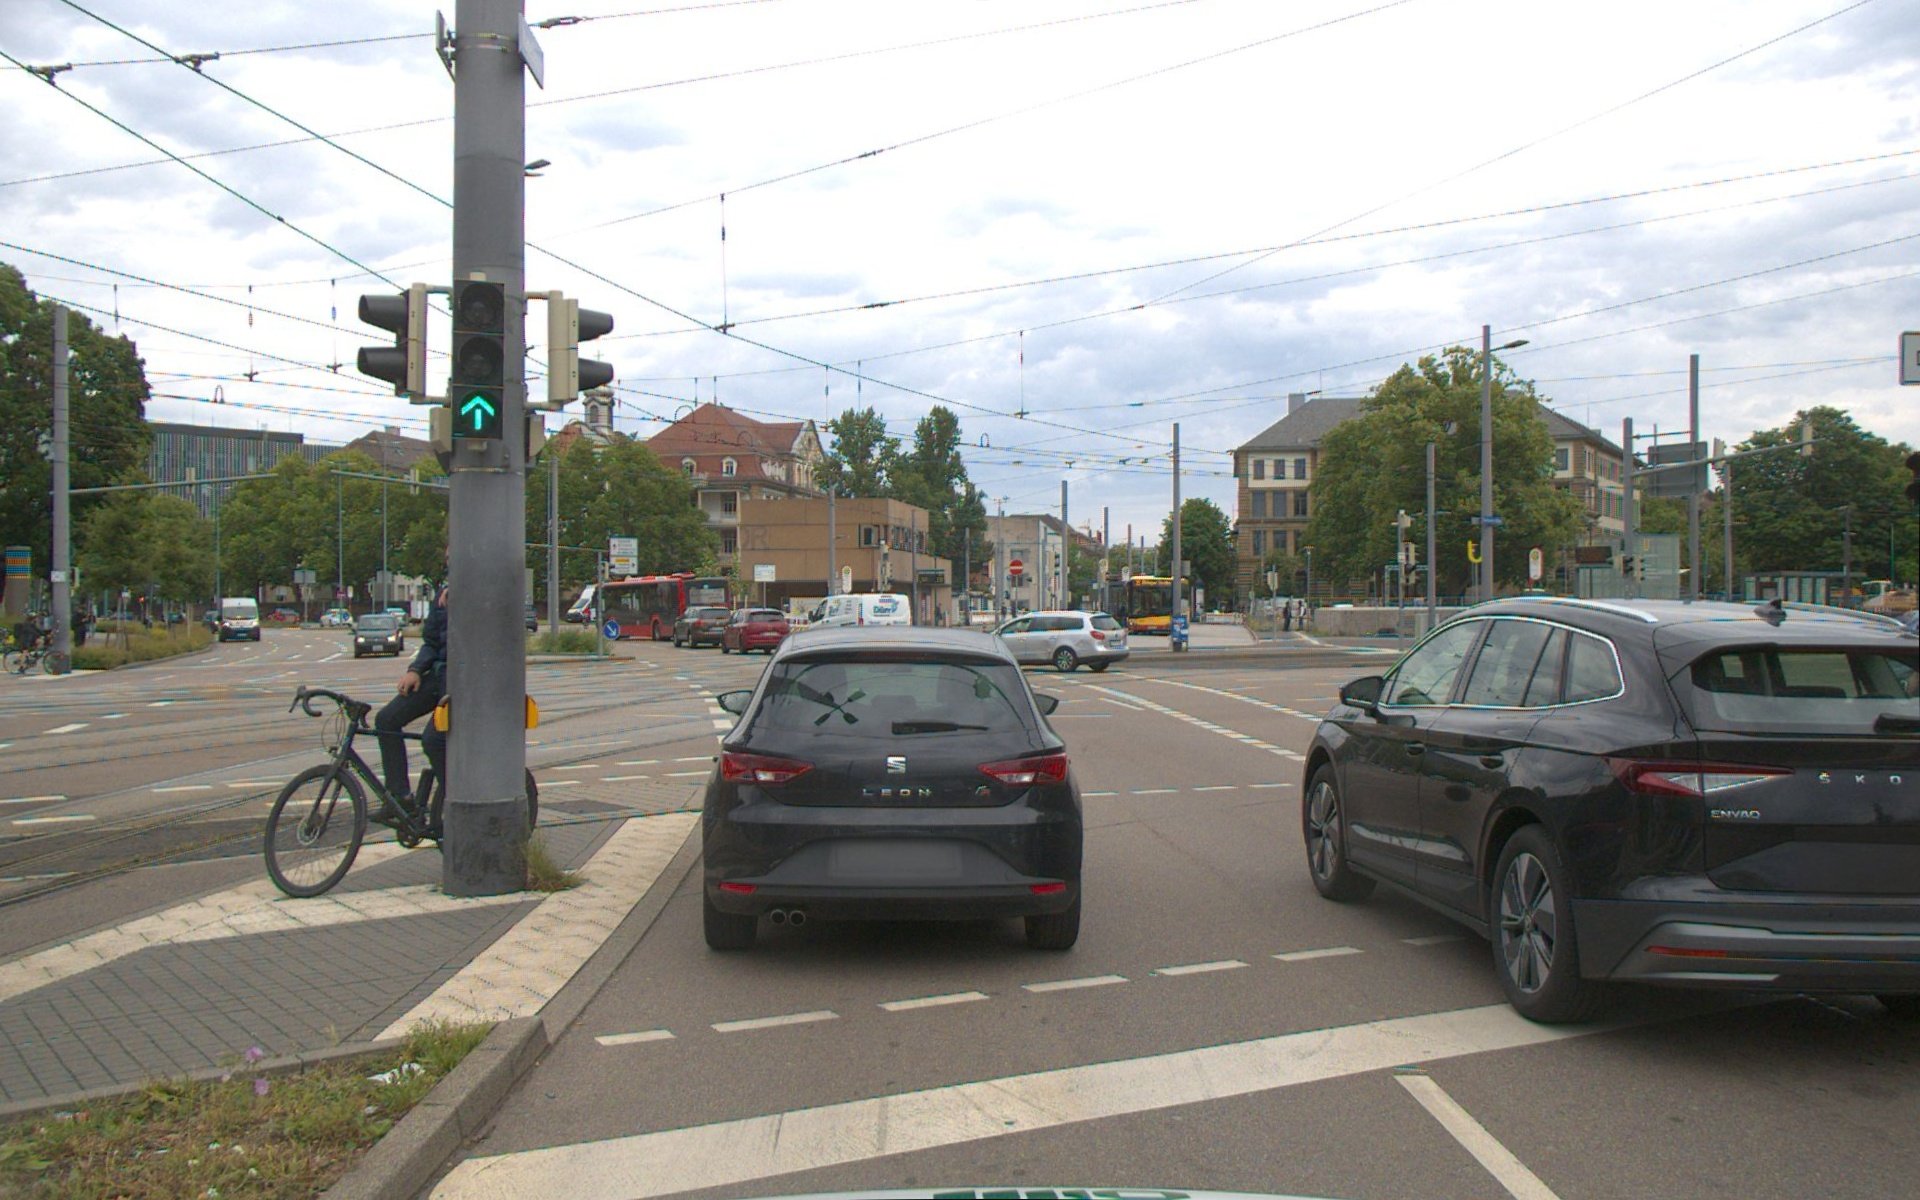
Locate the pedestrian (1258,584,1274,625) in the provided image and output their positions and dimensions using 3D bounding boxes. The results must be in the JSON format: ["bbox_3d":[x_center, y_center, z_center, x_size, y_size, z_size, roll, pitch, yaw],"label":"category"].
[{"bbox_3d":[33.202,0.492,179.431,1.358,4.328,1.346,0,-1,-1],"label":"pedestrian"}]

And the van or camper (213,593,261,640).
[{"bbox_3d":[-41.931,0.968,95.847,2.252,2.572,5.524,-1,0,-27],"label":"van or camper"}]

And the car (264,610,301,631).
[{"bbox_3d":[-59.768,1.836,145.833,1.981,1.803,3.942,0,0,-40],"label":"car"}]

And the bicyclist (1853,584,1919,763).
[{"bbox_3d":[9.736,0.737,17.060,0.724,1.782,0.580,-2,0,-28],"label":"bicyclist"}]

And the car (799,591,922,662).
[{"bbox_3d":[-3.096,0.777,50.472,1.970,2.054,4.988,0,0,-27],"label":"car"}]

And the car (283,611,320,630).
[{"bbox_3d":[-61.458,1.913,154.414,1.984,1.780,3.938,0,-1,-42],"label":"car"}]

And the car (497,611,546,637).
[{"bbox_3d":[-27.872,1.508,105.114,1.974,1.566,3.956,0,0,-32],"label":"car"}]

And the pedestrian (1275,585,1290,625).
[{"bbox_3d":[34.957,0.539,179.276,1.280,4.328,1.346,0,-1,-1],"label":"pedestrian"}]

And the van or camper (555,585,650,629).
[{"bbox_3d":[-28.827,0.522,133.474,2.828,3.390,7.104,-3,-2,44],"label":"van or camper"}]

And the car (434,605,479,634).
[{"bbox_3d":[-35.879,1.378,117.839,1.976,2.049,3.953,0,0,-34],"label":"car"}]

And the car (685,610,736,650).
[{"bbox_3d":[-10.238,1.207,68.069,1.956,1.593,4.197,-1,0,-8],"label":"car"}]

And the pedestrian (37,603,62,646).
[{"bbox_3d":[-37.551,1.008,68.227,0.734,1.764,0.683,-1,0,-16],"label":"pedestrian"}]

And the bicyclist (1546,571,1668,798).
[{"bbox_3d":[5.057,0.640,12.965,0.603,1.720,0.805,0,0,-4],"label":"bicyclist"}]

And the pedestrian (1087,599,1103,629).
[{"bbox_3d":[8.182,0.843,100.085,0.806,1.840,1.022,-1,0,14],"label":"pedestrian"}]

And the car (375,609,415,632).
[{"bbox_3d":[-45.385,1.661,132.835,1.978,1.780,3.949,0,0,-36],"label":"car"}]

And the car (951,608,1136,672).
[{"bbox_3d":[2.109,1.023,42.496,4.534,1.508,1.720,-1,0,35],"label":"car"}]

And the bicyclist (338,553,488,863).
[{"bbox_3d":[-3.079,0.582,9.316,0.649,1.668,0.510,0,-1,-41],"label":"bicyclist"}]

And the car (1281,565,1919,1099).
[{"bbox_3d":[3.006,0.739,7.582,1.866,1.687,4.510,-1,0,-5],"label":"car"}]

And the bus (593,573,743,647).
[{"bbox_3d":[-14.620,0.535,81.707,3.028,3.355,12.244,0,-1,-32],"label":"bus"}]

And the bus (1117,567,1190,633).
[{"bbox_3d":[10.741,0.012,90.569,2.952,3.325,13.053,-1,0,11],"label":"bus"}]

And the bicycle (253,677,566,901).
[{"bbox_3d":[-3.069,1.014,9.321,1.600,1.089,0.520,0,-1,-41],"label":"bicycle"}]

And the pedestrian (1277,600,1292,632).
[{"bbox_3d":[19.141,0.949,97.477,0.806,1.886,1.022,-1,0,14],"label":"pedestrian"}]

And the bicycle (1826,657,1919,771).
[{"bbox_3d":[9.872,1.144,17.143,1.964,1.015,0.574,-3,1,-29],"label":"bicycle"}]

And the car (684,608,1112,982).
[{"bbox_3d":[-0.361,0.790,8.641,1.711,1.490,3.997,0,0,-4],"label":"car"}]

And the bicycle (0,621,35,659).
[{"bbox_3d":[-37.716,1.584,65.450,0.829,1.474,2.255,-1,0,4],"label":"bicycle"}]

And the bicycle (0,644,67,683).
[{"bbox_3d":[-27.710,1.868,48.951,2.080,1.046,0.791,3,2,-19],"label":"bicycle"}]

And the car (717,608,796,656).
[{"bbox_3d":[-7.256,1.109,58.679,1.832,1.628,4.177,0,0,-22],"label":"car"}]

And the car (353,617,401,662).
[{"bbox_3d":[-21.506,1.427,60.959,1.594,1.542,3.643,-1,0,-20],"label":"car"}]

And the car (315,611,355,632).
[{"bbox_3d":[-51.022,1.775,135.008,1.979,1.668,3.947,0,0,-37],"label":"car"}]

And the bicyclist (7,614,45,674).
[{"bbox_3d":[-27.637,1.297,48.953,0.800,1.684,0.790,2,3,-19],"label":"bicyclist"}]
